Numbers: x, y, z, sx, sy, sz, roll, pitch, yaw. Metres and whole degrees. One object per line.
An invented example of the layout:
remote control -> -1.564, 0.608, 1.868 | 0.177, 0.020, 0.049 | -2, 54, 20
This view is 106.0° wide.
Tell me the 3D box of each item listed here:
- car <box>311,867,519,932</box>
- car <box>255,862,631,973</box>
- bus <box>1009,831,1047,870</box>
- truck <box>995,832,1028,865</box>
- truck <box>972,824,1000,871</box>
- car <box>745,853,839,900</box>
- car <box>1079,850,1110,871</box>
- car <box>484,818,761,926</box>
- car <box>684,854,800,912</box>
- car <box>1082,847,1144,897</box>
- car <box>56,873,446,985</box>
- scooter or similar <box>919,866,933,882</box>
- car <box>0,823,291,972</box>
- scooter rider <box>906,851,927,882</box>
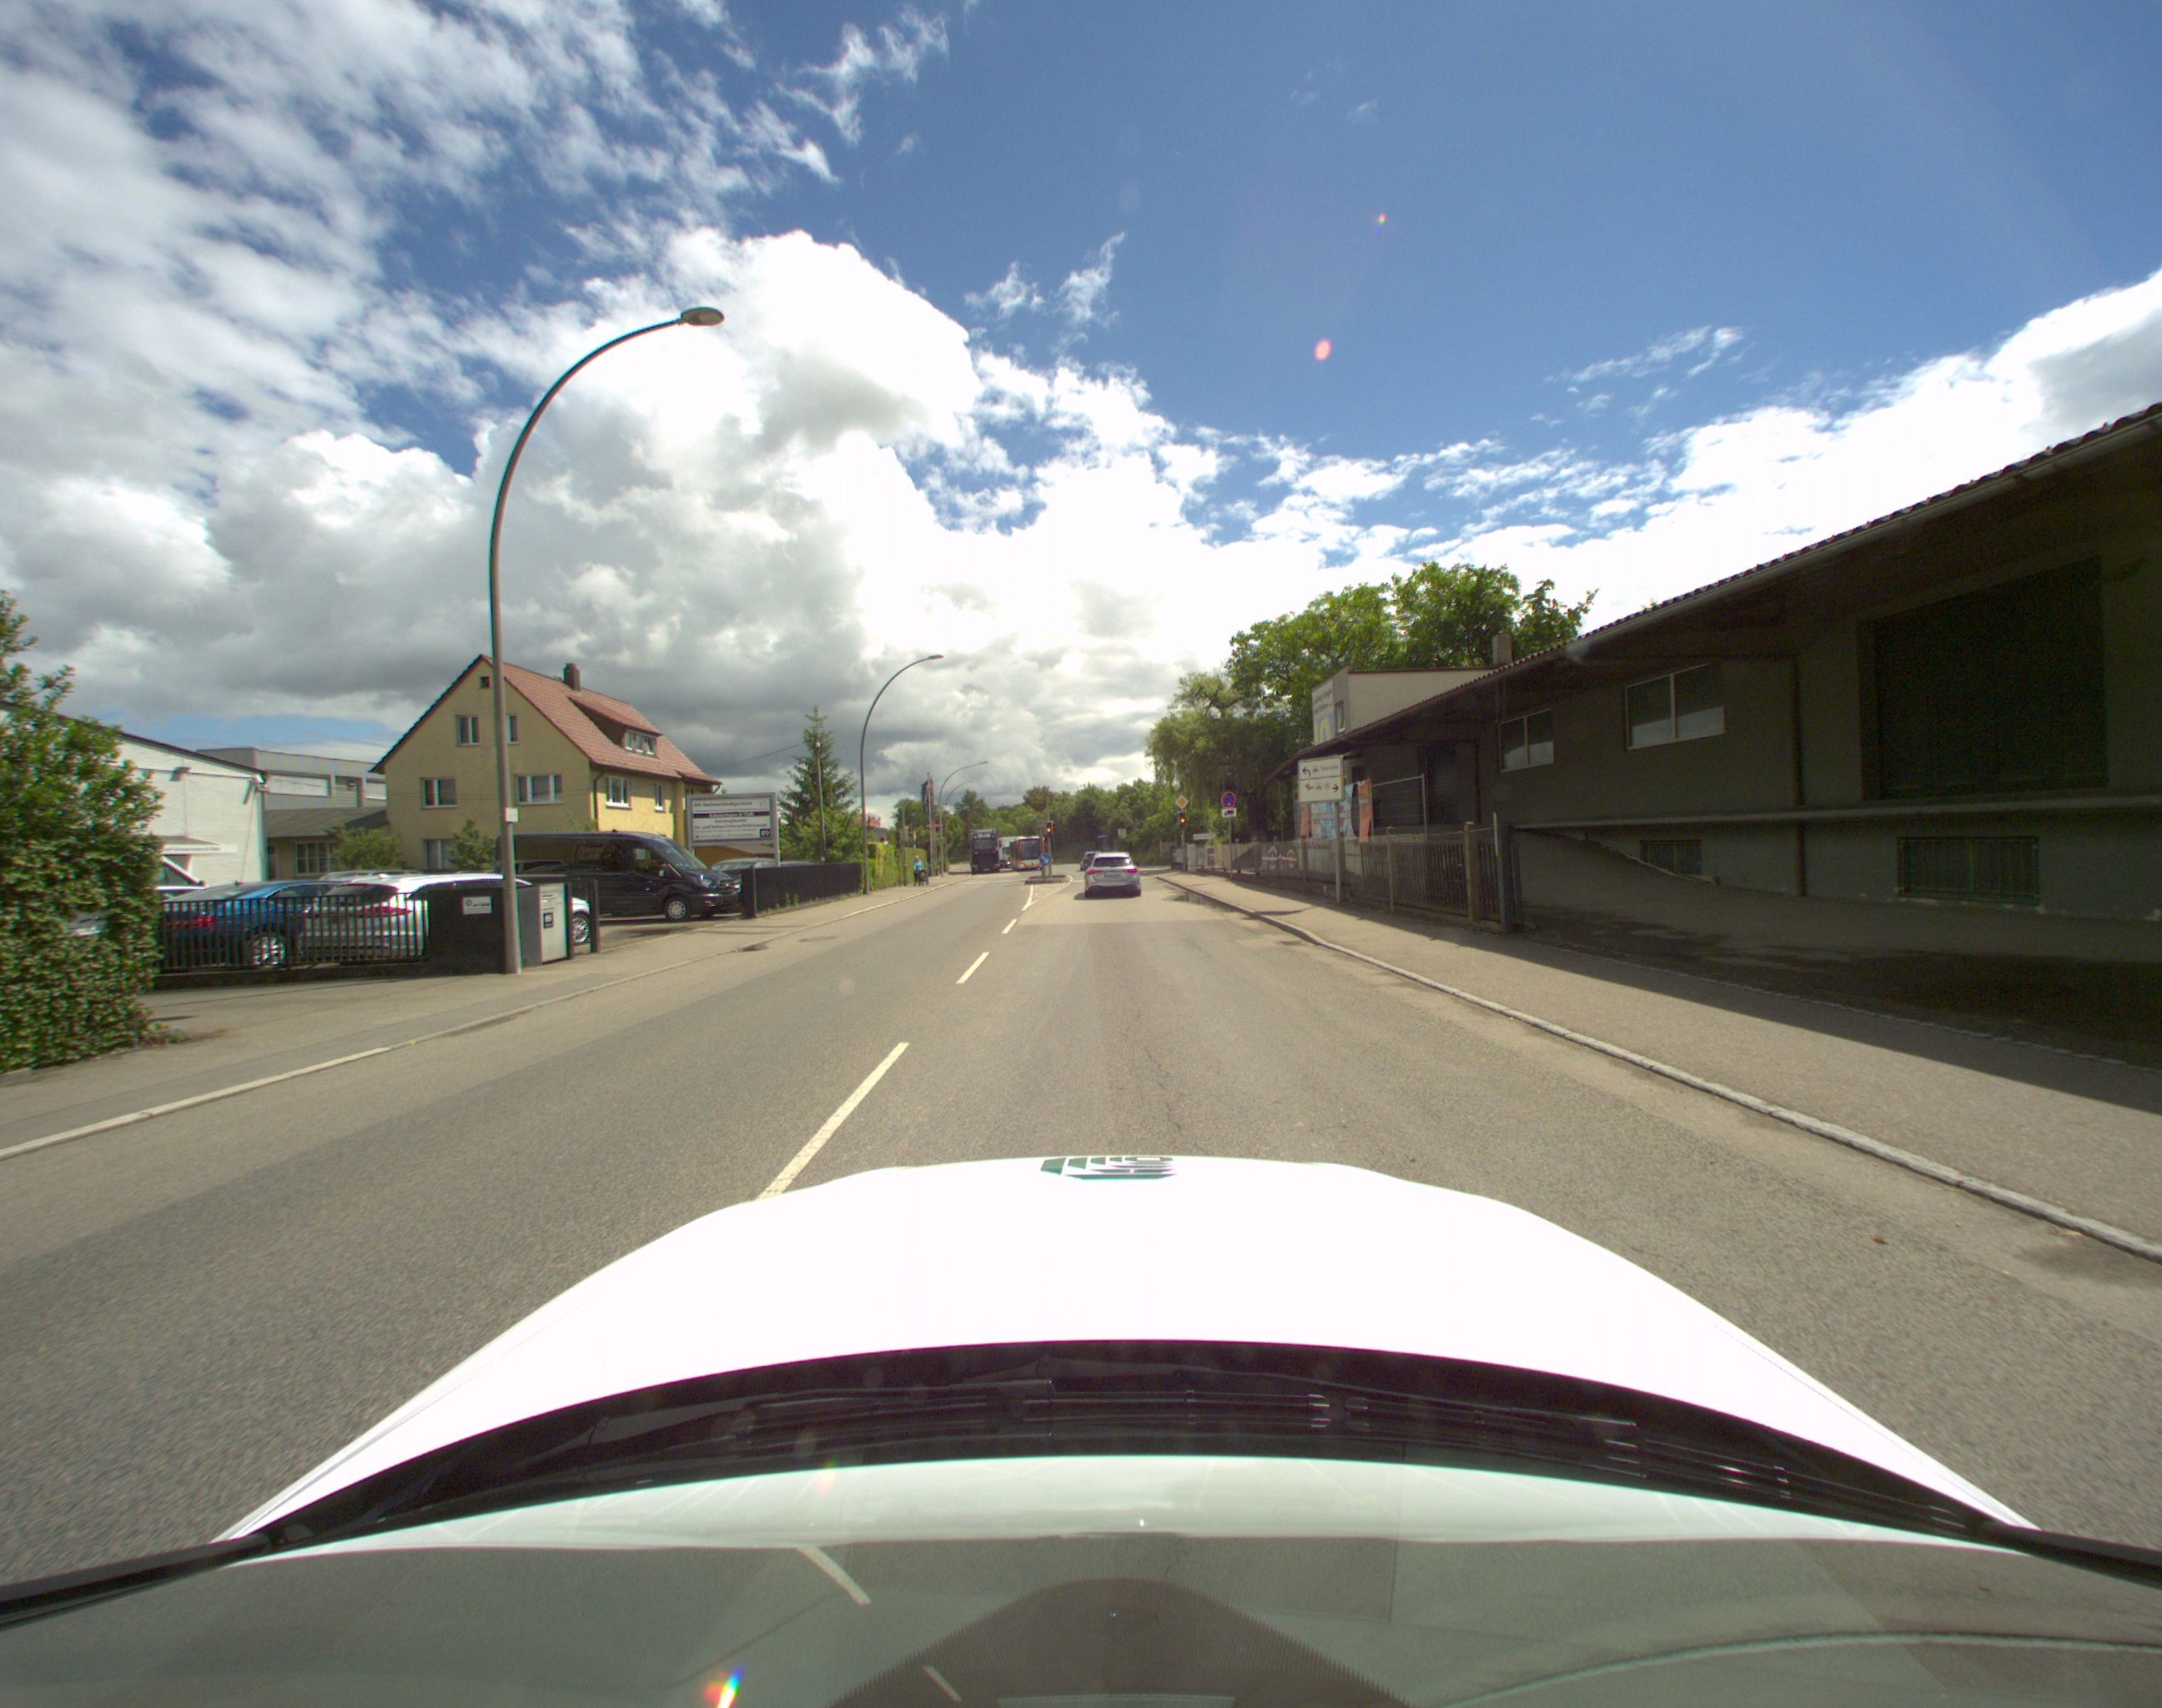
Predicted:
car -> -18.012, 1.200, 22.158 | 4.022, 1.479, 1.956 | -2, 0, 3
car -> -11.088, 0.984, 14.871 | 1.981, 1.486, 5.357 | -2, 0, 11
bus -> -5.162, -0.330, 77.643 | 2.775, 3.266, 12.094 | -3, 0, -7
truck -> -8.343, -0.603, 96.766 | 2.841, 3.540, 9.688 | -3, 0, -11
truck -> -8.832, -0.543, 76.066 | 2.426, 4.131, 9.131 | 0, 0, -6
car -> -10.824, 0.795, 30.828 | 2.148, 1.506, 4.263 | -3, 0, -3
car -> 0.978, 0.471, 62.101 | 1.882, 1.508, 3.991 | -2, 0, -6
car -> -12.316, 0.446, 22.284 | 6.018, 2.496, 2.477 | -3, 0, -1
car -> -10.783, 0.847, 26.270 | 2.027, 1.595, 4.280 | -3, 0, -3
car -> 1.035, 0.545, 27.322 | 1.878, 1.508, 4.001 | -2, 0, 1
car -> -13.832, 1.155, 14.035 | 1.833, 1.426, 4.344 | -3, 0, 11
scooter or similar -> -8.213, 1.046, 43.182 | 0.609, 0.831, 0.659 | -1, 0, 0
car -> -19.189, 0.792, 15.261 | 2.403, 2.495, 6.140 | -4, 0, 3
scooter rider -> -8.774, 0.664, 43.458 | 0.875, 1.589, 0.796 | -2, 0, 0
